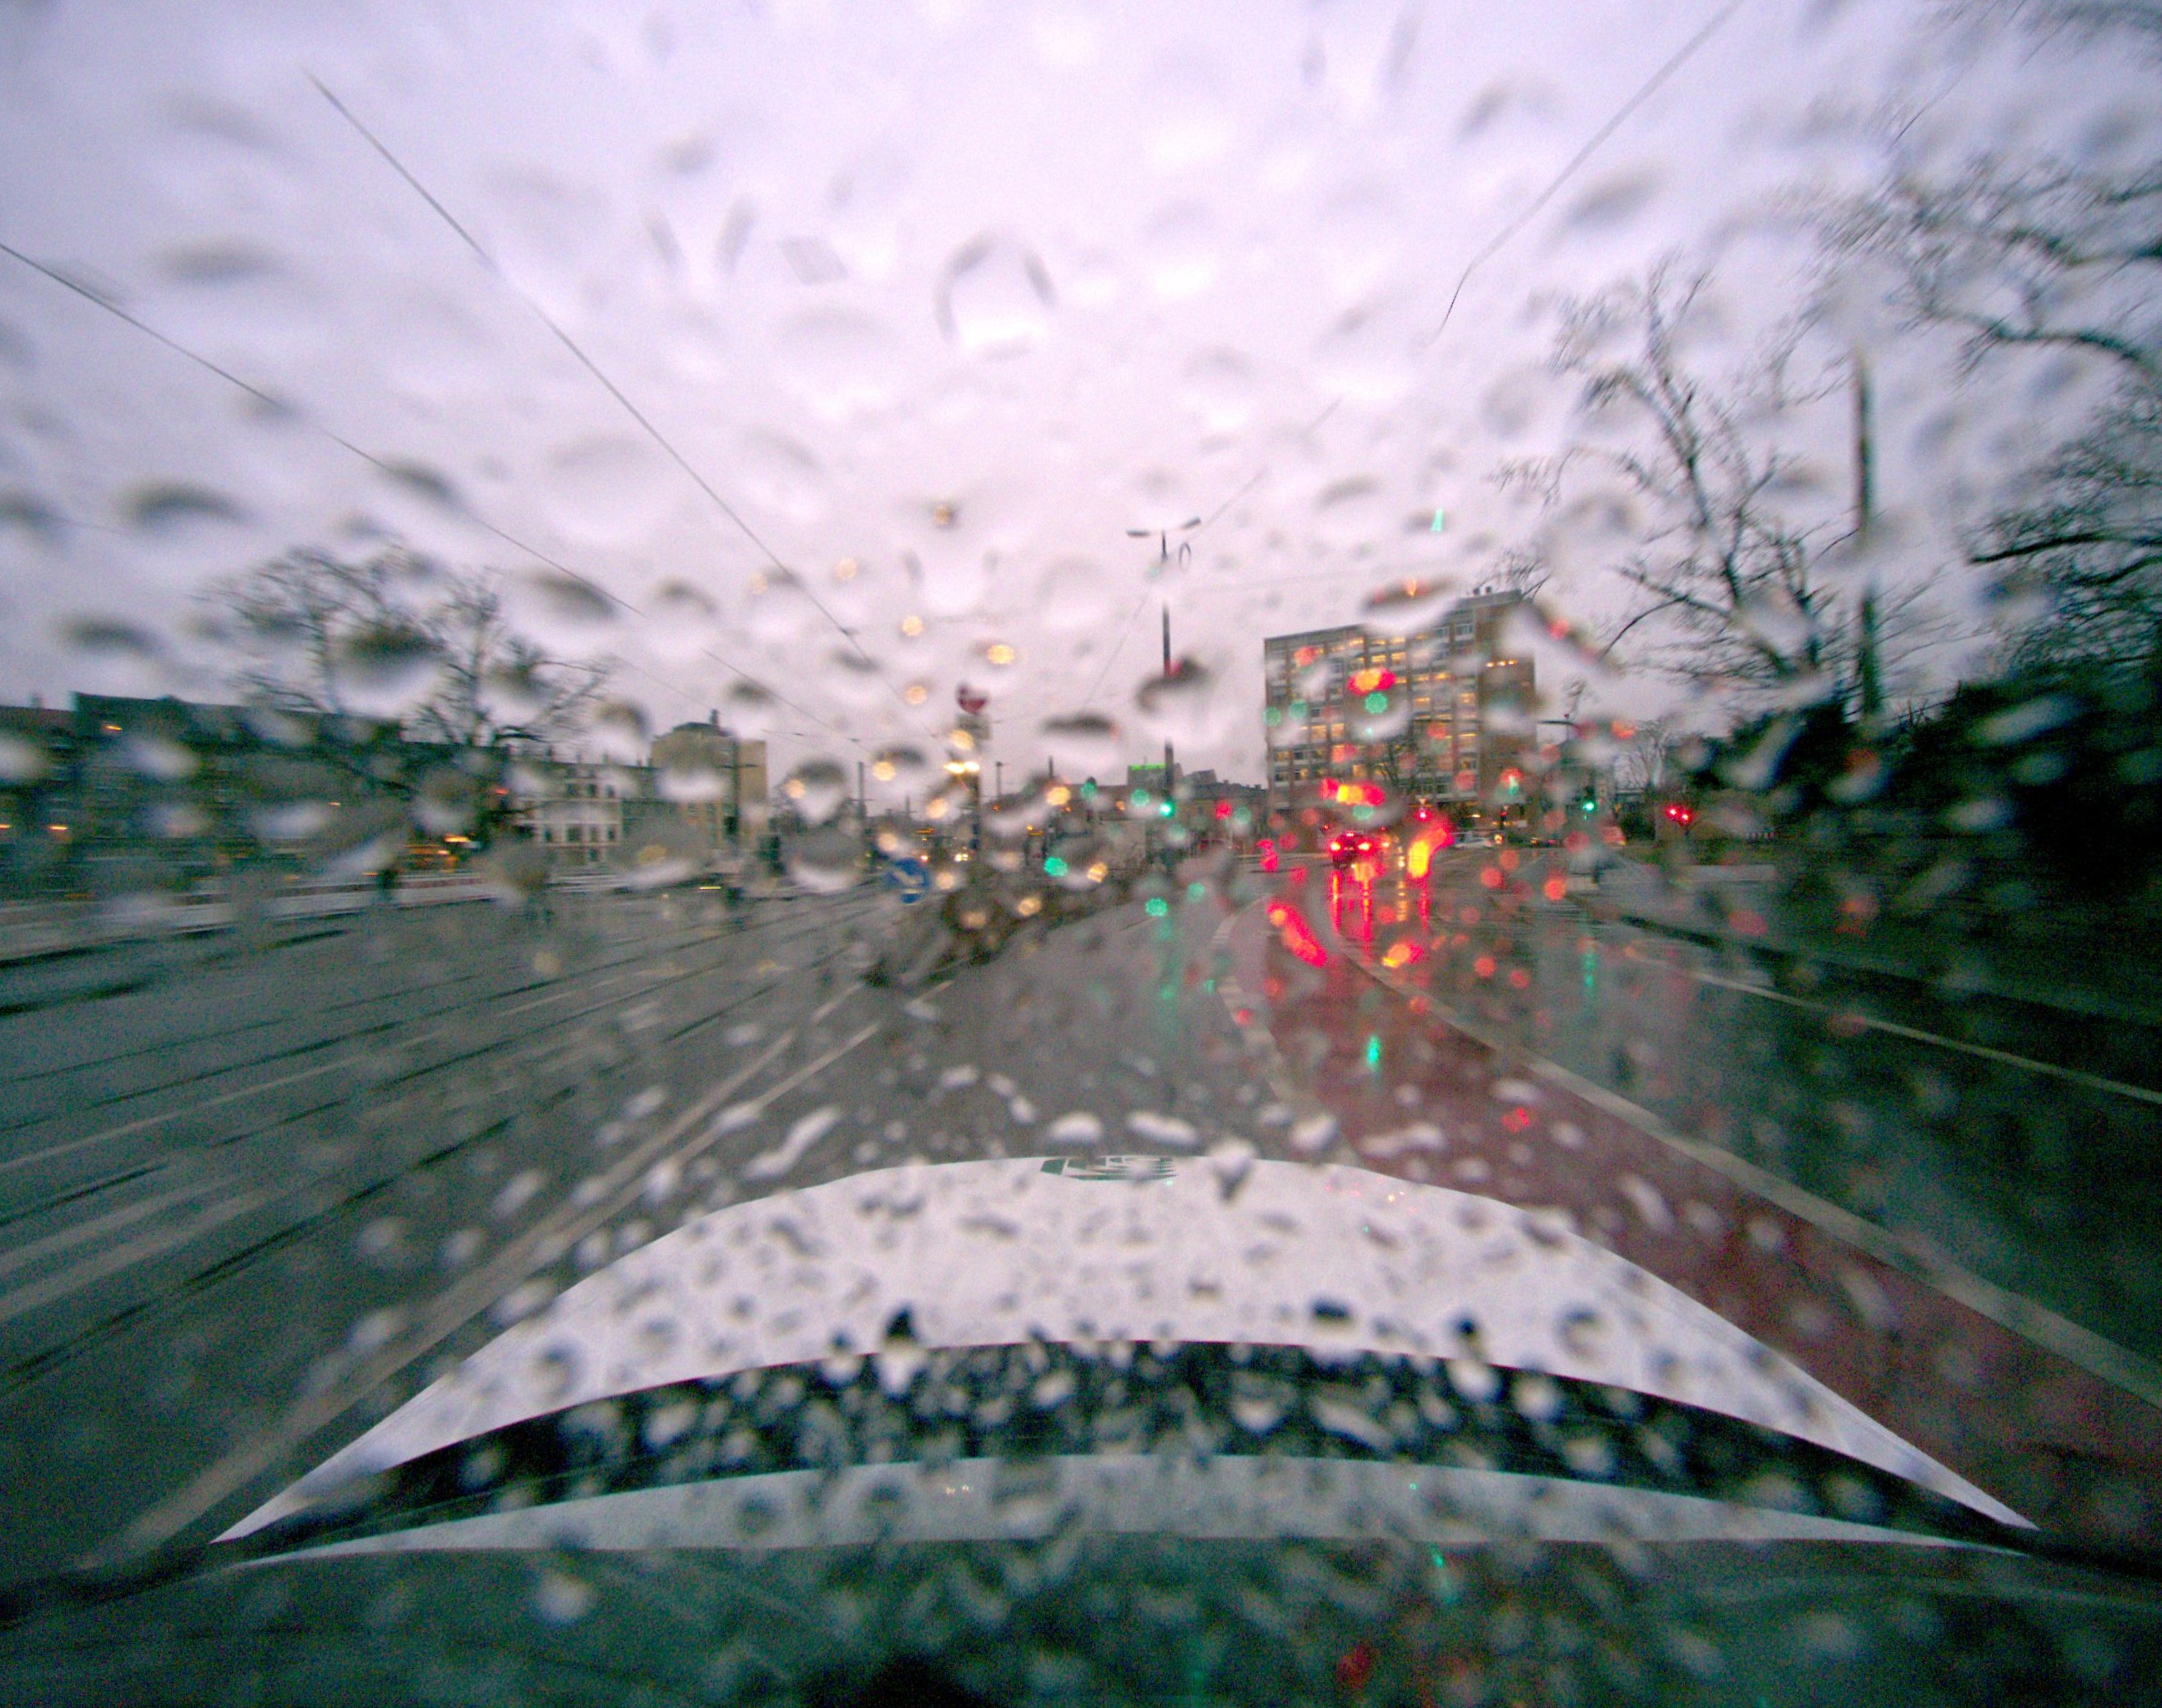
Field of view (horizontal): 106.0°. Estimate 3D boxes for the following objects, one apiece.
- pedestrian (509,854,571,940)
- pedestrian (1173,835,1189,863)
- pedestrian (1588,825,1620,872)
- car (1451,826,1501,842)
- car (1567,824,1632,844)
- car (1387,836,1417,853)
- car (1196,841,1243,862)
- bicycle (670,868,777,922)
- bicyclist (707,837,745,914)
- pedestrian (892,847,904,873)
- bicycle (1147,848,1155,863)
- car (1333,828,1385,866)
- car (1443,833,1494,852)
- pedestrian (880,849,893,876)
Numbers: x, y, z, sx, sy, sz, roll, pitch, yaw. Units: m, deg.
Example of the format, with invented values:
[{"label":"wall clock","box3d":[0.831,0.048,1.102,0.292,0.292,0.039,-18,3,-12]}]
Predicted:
[{"label":"pedestrian","box3d":[-15.349,1.189,23.121,0.984,2.370,1.071,1,0,27]},{"label":"pedestrian","box3d":[6.147,-0.302,50.126,0.666,1.674,0.735,1,0,35]},{"label":"pedestrian","box3d":[19.378,-0.212,30.207,0.797,1.684,1.163,-3,0,26]},{"label":"car","box3d":[50.759,-2.542,104.733,5.493,2.024,2.013,1,0,38]},{"label":"car","box3d":[52.048,-1.960,81.830,2.010,1.913,5.109,-1,1,-42]},{"label":"car","box3d":[28.862,-0.856,73.121,1.730,1.378,4.394,-3,0,31]},{"label":"car","box3d":[15.735,-0.280,92.603,2.270,2.281,4.978,1,0,-41]},{"label":"bicycle","box3d":[-8.363,0.922,19.152,0.620,1.074,2.224,0,2,40]},{"label":"bicyclist","box3d":[-8.342,0.497,19.157,0.604,1.768,0.593,0,0,41]},{"label":"pedestrian","box3d":[-12.547,0.420,55.782,0.710,1.806,0.717,0,0,-2]},{"label":"bicycle","box3d":[5.380,0.104,62.901,0.546,1.165,1.900,1,0,3]},{"label":"car","box3d":[14.133,-0.423,41.233,1.631,1.818,4.026,1,2,32]},{"label":"car","box3d":[44.393,-1.305,93.440,4.886,2.013,2.012,1,0,44]},{"label":"pedestrian","box3d":[-12.743,0.558,53.359,0.710,1.757,0.717,0,0,-2]}]
